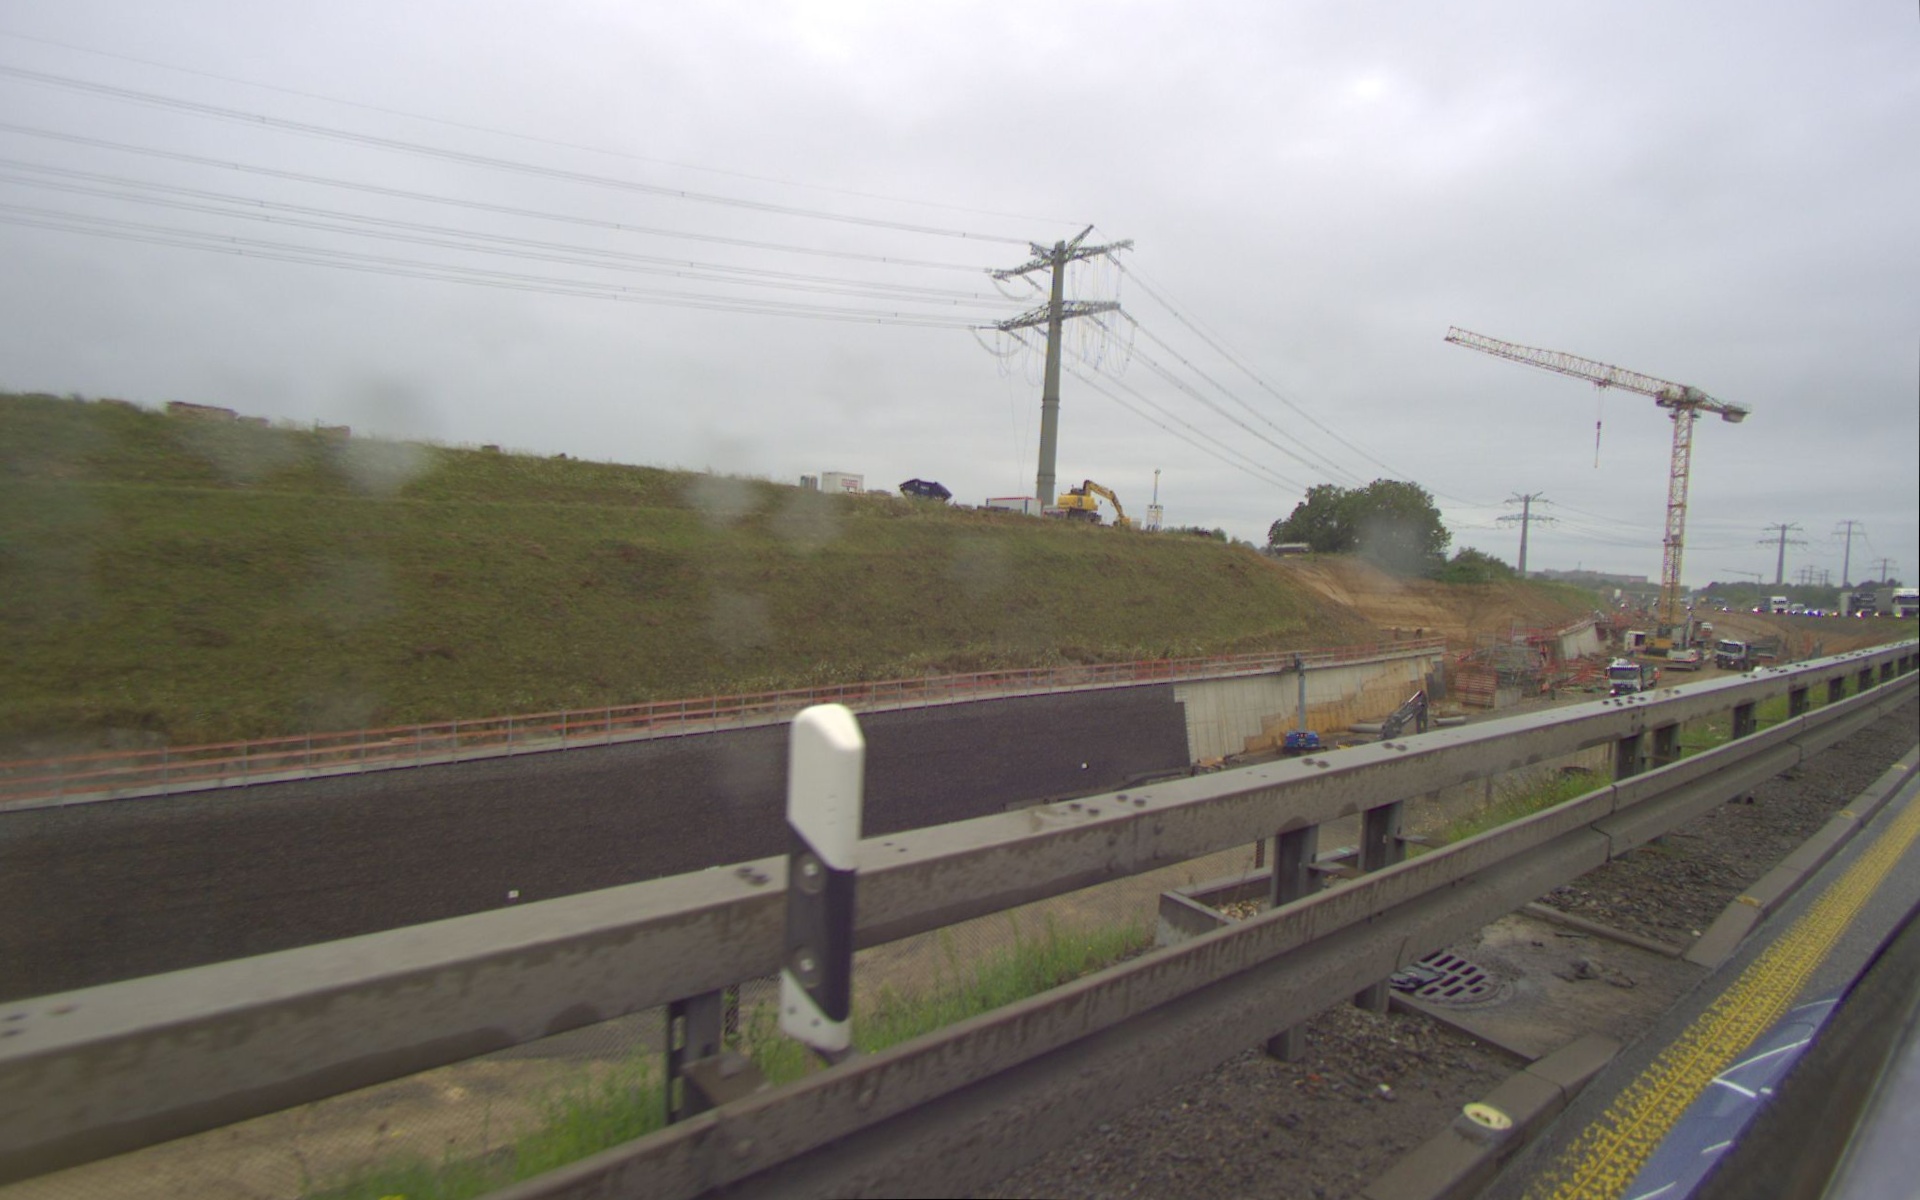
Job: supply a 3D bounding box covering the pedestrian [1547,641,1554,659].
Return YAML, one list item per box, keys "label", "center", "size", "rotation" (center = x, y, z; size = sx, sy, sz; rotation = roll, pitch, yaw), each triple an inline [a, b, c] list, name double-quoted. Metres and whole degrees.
- label: "pedestrian"
  center: [69.116, 5.838, 118.536]
  size: [0.487, 2.127, 0.475]
  rotation: [-6, -4, 40]

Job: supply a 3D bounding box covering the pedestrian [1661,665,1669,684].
- label: "pedestrian"
  center: [74.227, 7.834, 106.607]
  size: [0.601, 1.928, 0.474]
  rotation: [3, 2, 40]

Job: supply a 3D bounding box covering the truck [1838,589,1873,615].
- label: "truck"
  center: [141.755, 0.315, 160.290]
  size: [3.529, 3.943, 8.219]
  rotation: [-1, -1, 38]

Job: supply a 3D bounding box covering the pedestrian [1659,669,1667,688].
- label: "pedestrian"
  center: [73.714, 8.231, 106.069]
  size: [0.601, 1.928, 0.605]
  rotation: [3, 2, 40]

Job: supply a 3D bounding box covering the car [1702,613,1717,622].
- label: "car"
  center: [153.882, 3.612, 207.680]
  size: [2.341, 1.638, 4.792]
  rotation: [2, 2, 39]

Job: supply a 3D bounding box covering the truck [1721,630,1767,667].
- label: "truck"
  center: [94.090, 5.729, 121.454]
  size: [3.354, 3.583, 8.767]
  rotation: [1, 3, 45]

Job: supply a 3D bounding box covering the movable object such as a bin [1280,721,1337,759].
- label: "movable object such as a bin"
  center: [23.095, 9.231, 67.012]
  size: [2.513, 1.935, 3.209]
  rotation: [-2, -1, 41]

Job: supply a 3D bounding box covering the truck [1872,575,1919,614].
- label: "truck"
  center: [112.069, -0.580, 120.573]
  size: [4.300, 4.400, 13.215]
  rotation: [-1, 0, 39]

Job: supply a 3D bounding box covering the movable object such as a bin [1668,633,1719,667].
- label: "movable object such as a bin"
  center: [86.807, 5.887, 119.747]
  size: [6.538, 3.467, 3.514]
  rotation: [-2, 1, -41]

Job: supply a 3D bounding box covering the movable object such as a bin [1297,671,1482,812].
- label: "movable object such as a bin"
  center: [24.037, 7.450, 56.167]
  size: [11.892, 5.740, 4.898]
  rotation: [-3, 1, -43]

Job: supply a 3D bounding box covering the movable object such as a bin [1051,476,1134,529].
- label: "movable object such as a bin"
  center: [12.292, -8.887, 93.286]
  size: [8.038, 4.259, 3.104]
  rotation: [1, 1, -42]

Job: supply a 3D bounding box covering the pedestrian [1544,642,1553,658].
- label: "pedestrian"
  center: [68.873, 5.843, 118.417]
  size: [0.570, 1.827, 0.490]
  rotation: [-3, -3, -10]

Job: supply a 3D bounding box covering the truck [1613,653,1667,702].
- label: "truck"
  center: [63.937, 7.169, 95.044]
  size: [2.703, 3.655, 8.933]
  rotation: [3, 3, 43]

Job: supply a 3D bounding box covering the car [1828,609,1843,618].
- label: "car"
  center: [150.022, 2.348, 173.463]
  size: [1.782, 1.445, 3.943]
  rotation: [-1, 0, 40]
